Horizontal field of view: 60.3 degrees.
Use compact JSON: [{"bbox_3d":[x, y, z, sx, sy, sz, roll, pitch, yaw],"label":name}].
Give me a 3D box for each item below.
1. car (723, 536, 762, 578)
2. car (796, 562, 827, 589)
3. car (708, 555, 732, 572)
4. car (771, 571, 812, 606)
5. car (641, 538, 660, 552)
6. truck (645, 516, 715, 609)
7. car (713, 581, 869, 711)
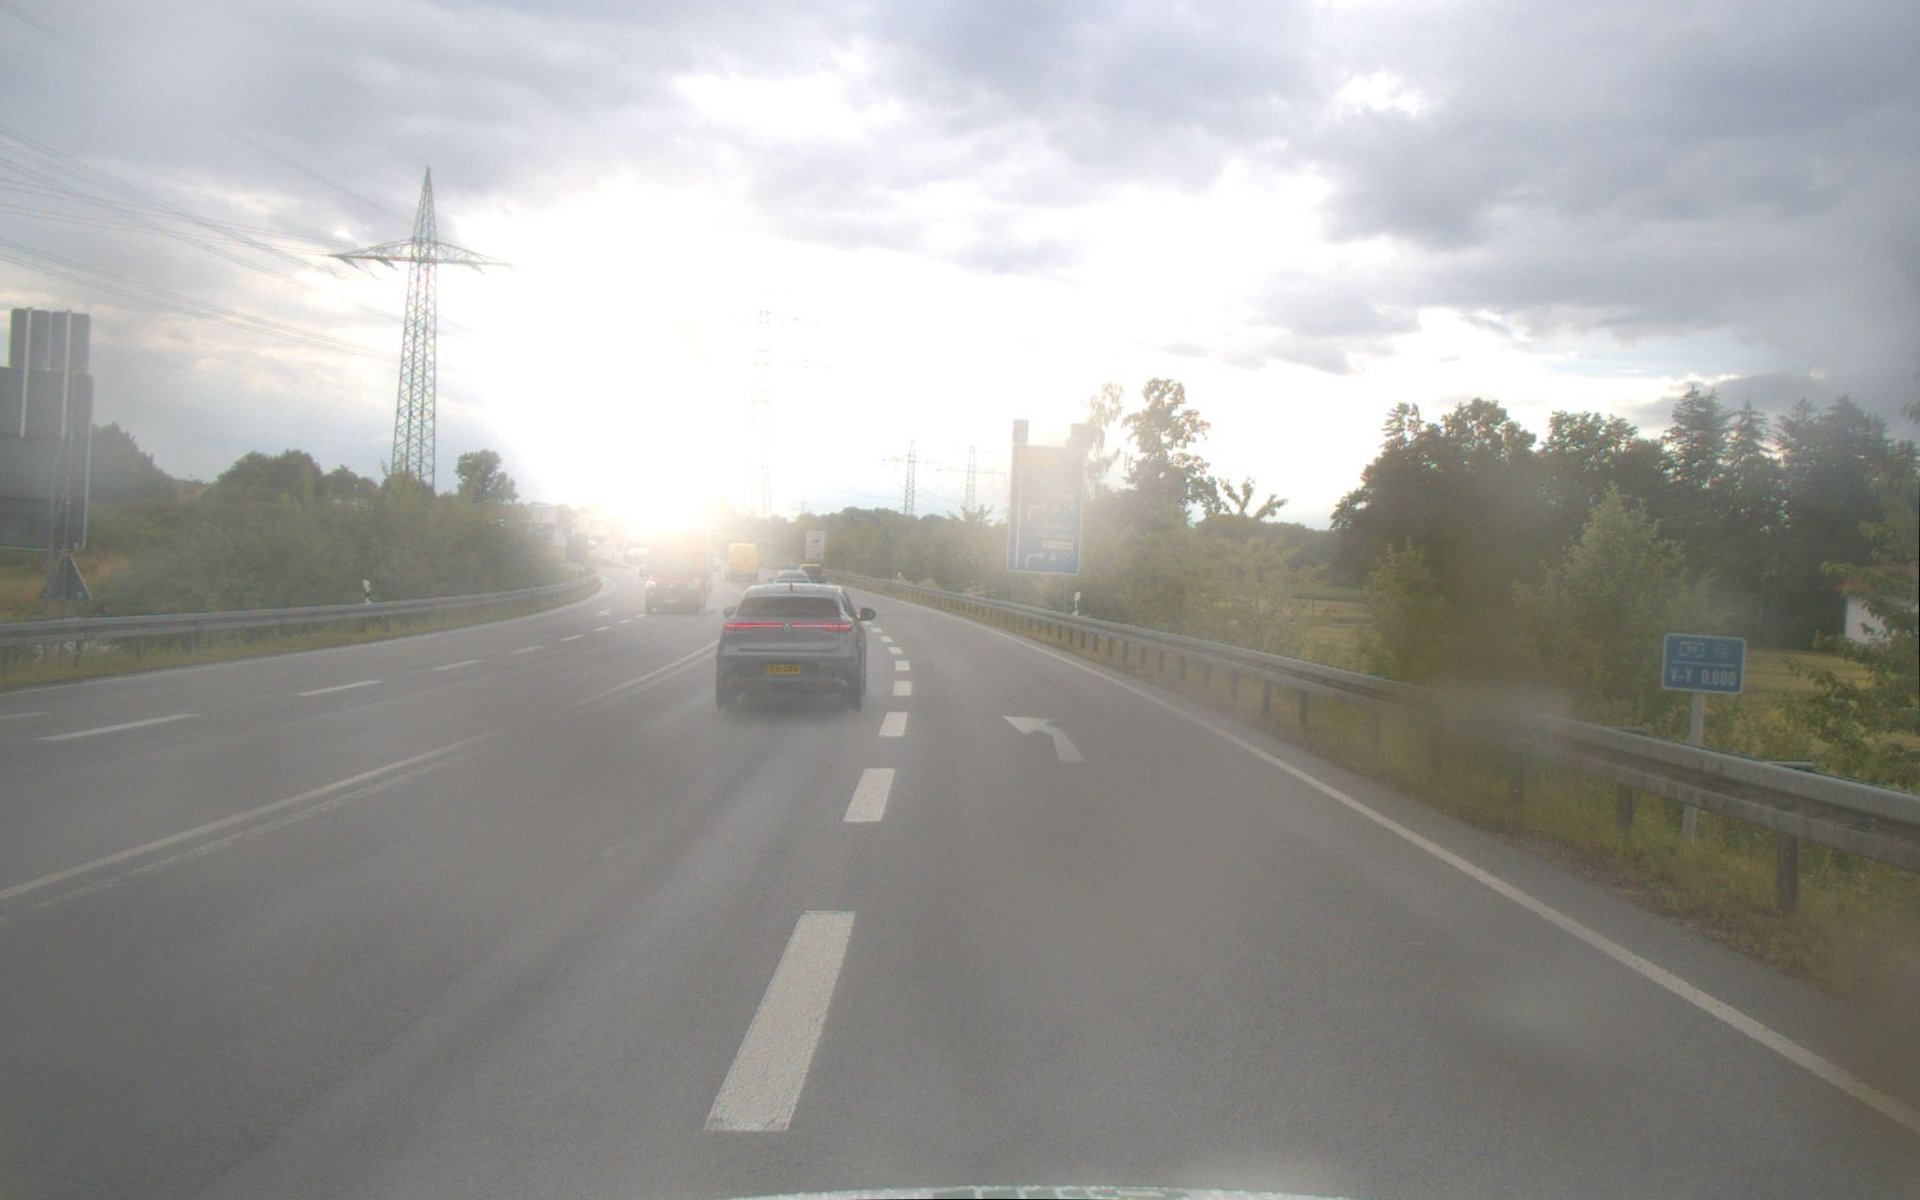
[{"bbox_3d":[-15.441,-3.018,117.101,2.525,2.772,7.182,2,1,-9],"label":"car"},{"bbox_3d":[-9.077,-1.486,101.031,1.757,1.568,3.995,1,1,-6],"label":"car"},{"bbox_3d":[-20.530,-3.137,141.409,1.760,1.466,3.989,-1,2,-12],"label":"car"},{"bbox_3d":[-7.544,-0.535,74.087,1.757,1.466,3.995,1,1,-6],"label":"car"},{"bbox_3d":[-37.443,-6.644,200.056,1.771,1.602,4.240,0,1,-17],"label":"car"},{"bbox_3d":[-10.680,-1.456,63.590,2.434,3.349,7.268,0,1,-8],"label":"truck"},{"bbox_3d":[-2.080,0.520,21.025,1.756,1.466,3.997,1,0,-4],"label":"car"}]
